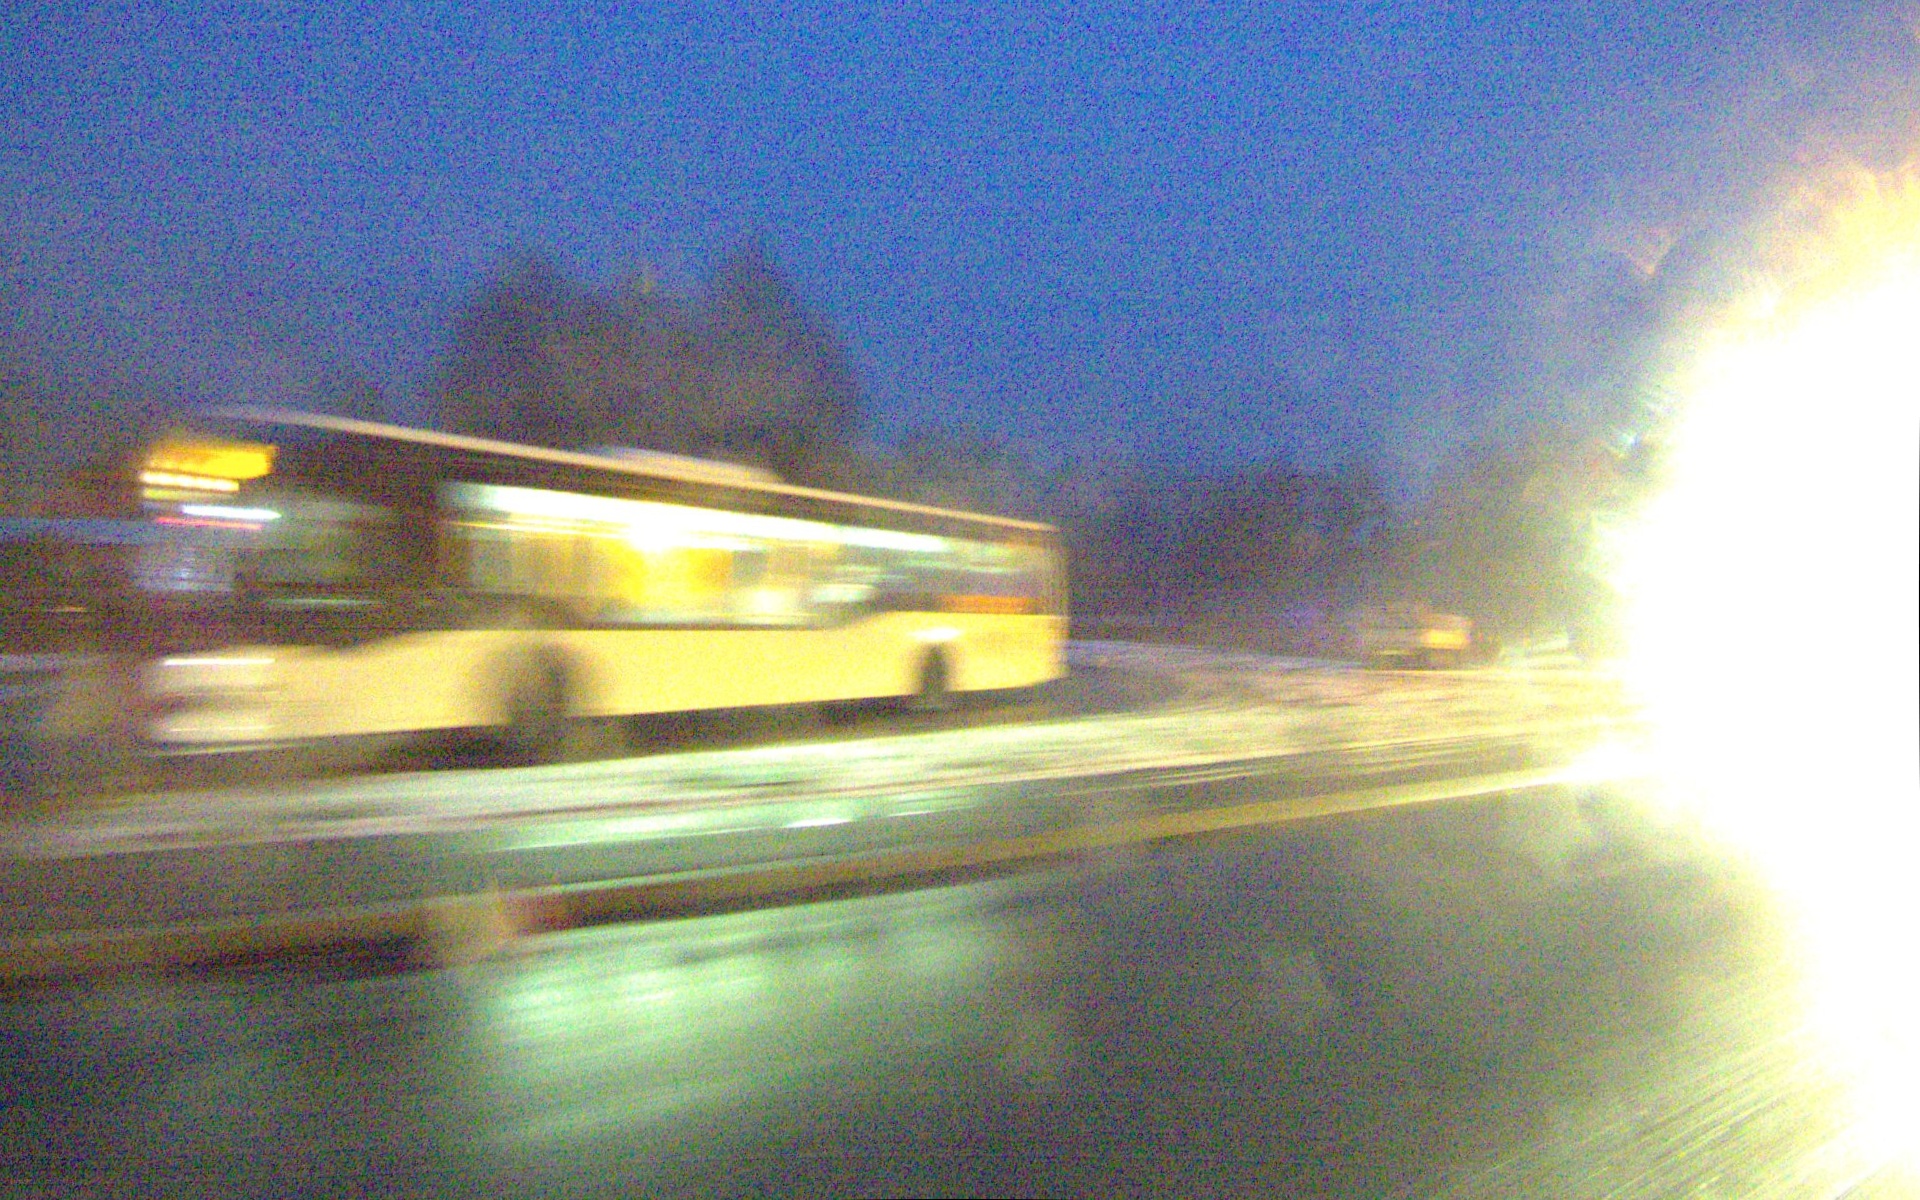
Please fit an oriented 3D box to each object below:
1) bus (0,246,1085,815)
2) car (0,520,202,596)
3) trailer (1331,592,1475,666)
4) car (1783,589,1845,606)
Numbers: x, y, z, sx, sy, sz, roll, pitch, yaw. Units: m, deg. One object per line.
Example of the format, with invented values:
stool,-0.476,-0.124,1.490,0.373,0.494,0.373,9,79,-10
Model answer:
bus,-3.158,-0.425,12.891,2.858,3.920,13.000,3,1,39
car,-20.731,-0.988,23.789,3.964,1.416,1.860,4,-2,-5
trailer,11.080,0.667,25.009,4.070,1.699,1.796,0,0,-42
car,91.110,-0.295,107.244,4.845,1.758,1.994,1,2,34
